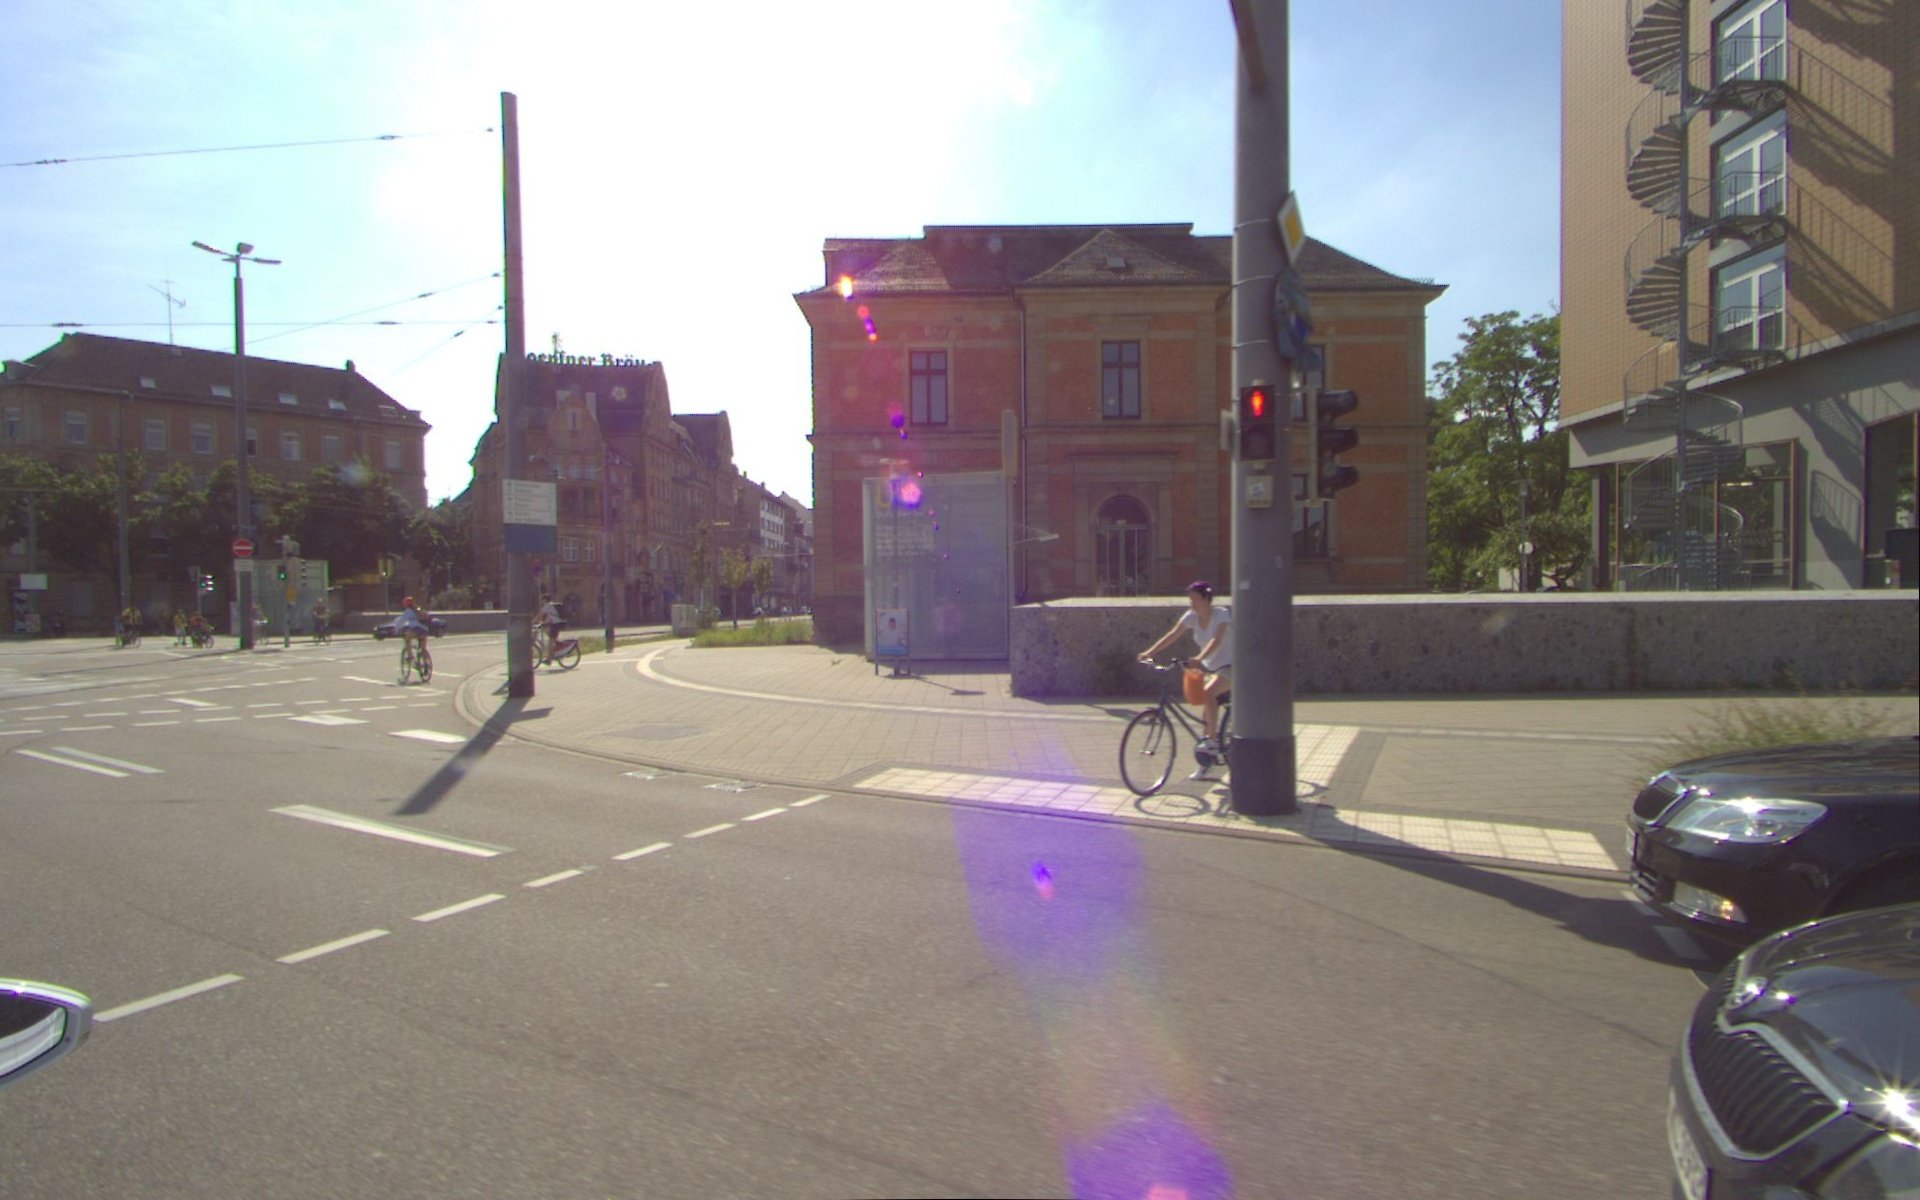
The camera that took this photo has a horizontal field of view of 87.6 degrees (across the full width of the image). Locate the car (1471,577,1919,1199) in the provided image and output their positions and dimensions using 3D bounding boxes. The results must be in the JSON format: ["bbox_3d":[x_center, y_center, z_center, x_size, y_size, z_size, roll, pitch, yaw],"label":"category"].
[{"bbox_3d":[3.101,0.677,0.846,4.707,1.454,1.629,-1,-1,29],"label":"car"}]

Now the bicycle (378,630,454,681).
[{"bbox_3d":[-12.026,1.204,22.107,1.996,1.029,0.711,-1,3,39],"label":"bicycle"}]

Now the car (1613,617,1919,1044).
[{"bbox_3d":[4.851,0.806,3.416,4.334,1.448,1.697,0,-2,32],"label":"car"}]

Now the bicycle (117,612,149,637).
[{"bbox_3d":[-36.671,1.105,44.388,0.920,1.082,2.722,1,-2,-42],"label":"bicycle"}]

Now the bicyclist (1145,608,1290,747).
[{"bbox_3d":[2.143,0.613,8.358,0.902,1.043,0.713,-3,2,-26],"label":"bicyclist"}]

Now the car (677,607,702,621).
[{"bbox_3d":[-27.782,1.417,103.002,1.606,1.363,3.583,-1,0,-1],"label":"car"}]

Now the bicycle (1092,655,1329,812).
[{"bbox_3d":[2.101,1.057,8.341,1.888,1.029,0.713,-3,2,-26],"label":"bicycle"}]

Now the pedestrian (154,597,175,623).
[{"bbox_3d":[-44.857,0.564,56.441,0.699,1.451,0.614,0,-1,-7],"label":"pedestrian"}]

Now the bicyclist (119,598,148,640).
[{"bbox_3d":[-36.485,0.862,44.210,0.920,1.843,1.043,1,-2,-42],"label":"bicyclist"}]

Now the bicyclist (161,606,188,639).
[{"bbox_3d":[-35.299,1.019,45.003,0.919,1.470,1.241,1,-1,-40],"label":"bicyclist"}]

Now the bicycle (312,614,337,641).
[{"bbox_3d":[-26.140,1.104,41.181,0.661,1.083,2.445,1,-1,-37],"label":"bicycle"}]

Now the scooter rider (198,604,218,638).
[{"bbox_3d":[-31.982,0.910,42.588,0.401,1.415,0.586,-1,-1,30],"label":"scooter rider"}]

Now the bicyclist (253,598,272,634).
[{"bbox_3d":[-32.253,0.727,46.295,0.641,1.642,0.499,0,-1,36],"label":"bicyclist"}]

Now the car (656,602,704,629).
[{"bbox_3d":[-14.317,0.786,51.418,1.640,1.331,3.451,0,0,-3],"label":"car"}]

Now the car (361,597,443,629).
[{"bbox_3d":[-29.659,0.670,53.326,1.607,1.605,3.997,0,0,10],"label":"car"}]

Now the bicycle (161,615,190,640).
[{"bbox_3d":[-35.236,1.215,44.944,0.919,1.083,2.817,1,-1,-40],"label":"bicycle"}]

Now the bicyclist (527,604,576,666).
[{"bbox_3d":[-10.033,0.860,24.597,0.932,1.506,0.717,0,-1,-4],"label":"bicyclist"}]

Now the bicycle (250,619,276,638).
[{"bbox_3d":[-32.216,1.309,46.261,1.566,0.877,0.499,0,-1,36],"label":"bicycle"}]

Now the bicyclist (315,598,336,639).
[{"bbox_3d":[-26.074,0.753,41.131,0.661,1.645,0.777,1,-1,-37],"label":"bicyclist"}]

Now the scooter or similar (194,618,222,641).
[{"bbox_3d":[-31.989,1.261,42.595,0.977,0.988,0.586,-1,-2,30],"label":"scooter or similar"}]

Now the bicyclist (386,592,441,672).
[{"bbox_3d":[-12.040,0.690,22.073,0.864,1.692,0.711,0,3,38],"label":"bicyclist"}]

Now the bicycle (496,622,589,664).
[{"bbox_3d":[-10.219,1.054,24.575,1.981,1.028,0.717,0,-2,-5],"label":"bicycle"}]

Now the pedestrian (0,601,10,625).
[{"bbox_3d":[-59.690,0.816,62.078,0.870,1.452,0.712,-1,1,-11],"label":"pedestrian"}]
